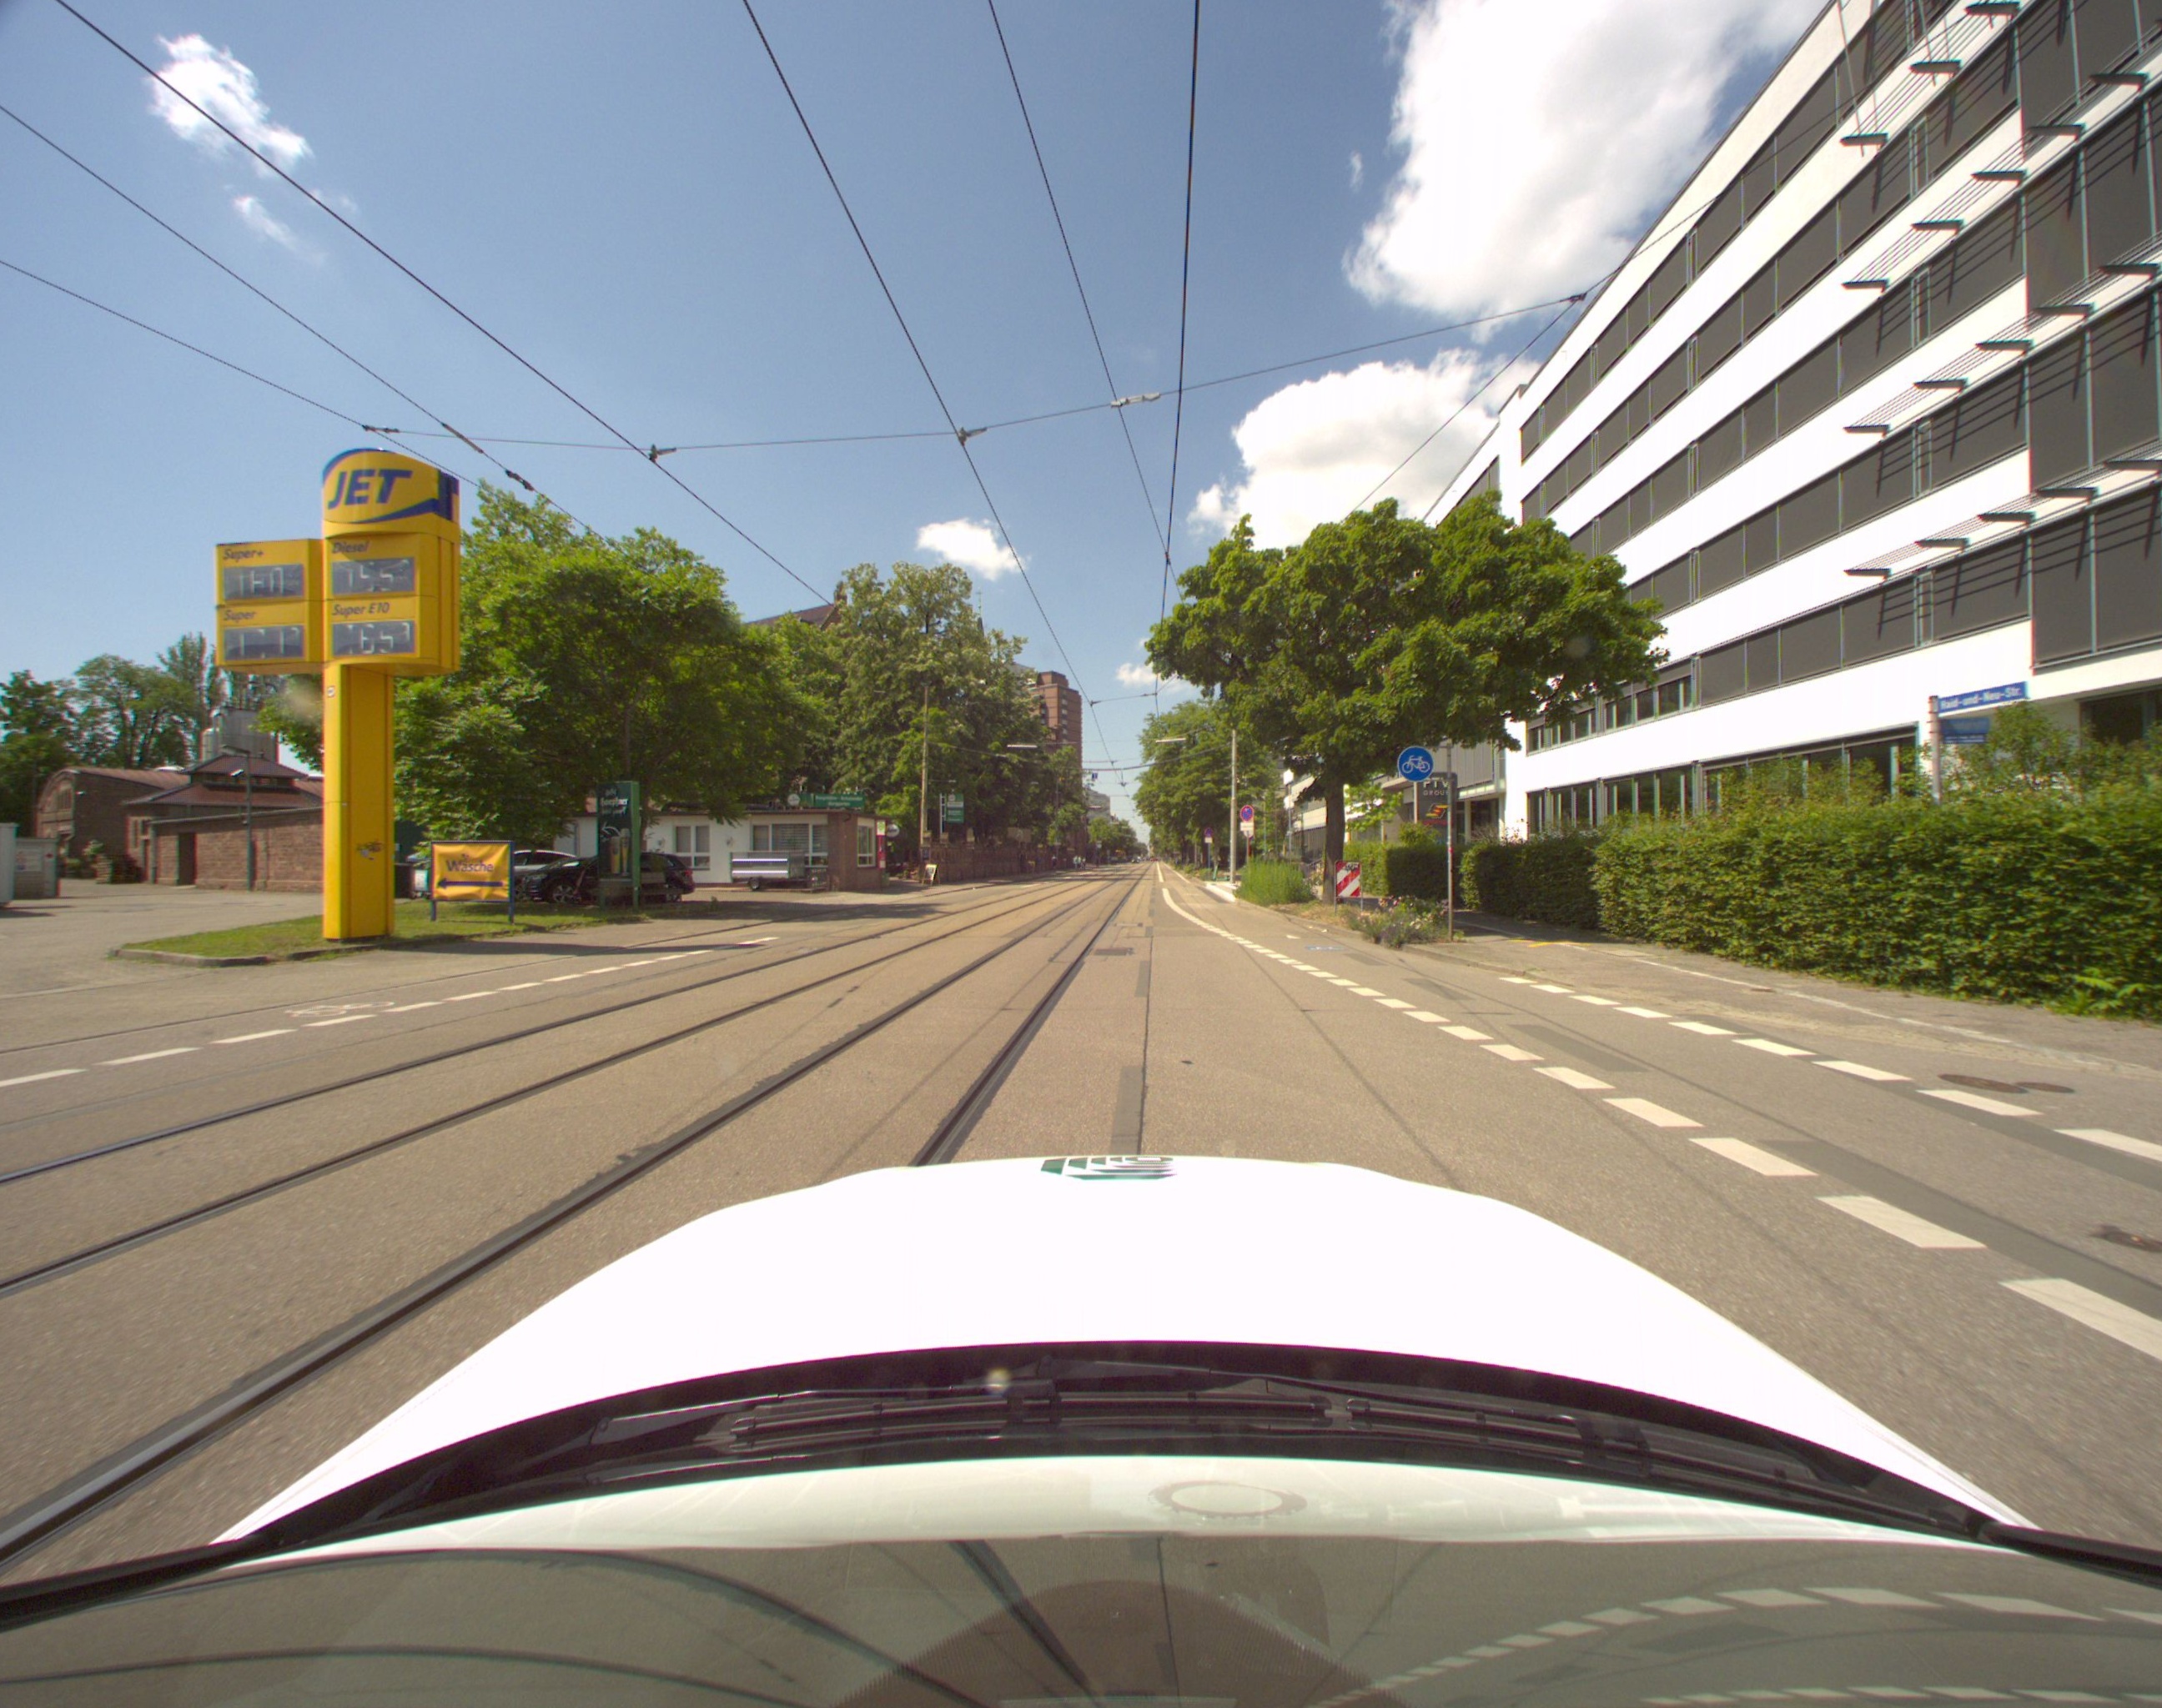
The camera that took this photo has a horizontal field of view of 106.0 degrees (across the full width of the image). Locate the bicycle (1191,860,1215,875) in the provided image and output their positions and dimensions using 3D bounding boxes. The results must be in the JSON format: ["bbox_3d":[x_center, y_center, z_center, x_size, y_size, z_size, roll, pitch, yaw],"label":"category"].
[{"bbox_3d":[10.451,1.154,69.887,1.985,1.209,0.664,-1,-1,9],"label":"bicycle"}]

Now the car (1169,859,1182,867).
[{"bbox_3d":[15.833,1.468,136.572,1.984,1.310,4.006,-1,0,5],"label":"car"}]

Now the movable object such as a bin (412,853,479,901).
[{"bbox_3d":[-18.216,0.662,23.350,1.339,1.354,0.759,0,0,3],"label":"movable object such as a bin"}]

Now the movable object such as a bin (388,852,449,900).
[{"bbox_3d":[-19.511,0.636,23.989,1.334,1.354,0.761,0,0,17],"label":"movable object such as a bin"}]

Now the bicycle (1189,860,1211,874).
[{"bbox_3d":[9.910,1.111,67.930,1.745,1.166,0.531,0,-1,2],"label":"bicycle"}]

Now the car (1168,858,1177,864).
[{"bbox_3d":[21.107,1.624,188.215,1.984,1.310,4.006,-1,0,5],"label":"car"}]

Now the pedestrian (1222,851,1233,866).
[{"bbox_3d":[18.448,0.596,102.445,1.211,1.827,0.832,0,-1,1],"label":"pedestrian"}]

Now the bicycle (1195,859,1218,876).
[{"bbox_3d":[9.931,1.070,64.336,1.745,1.271,0.531,0,-1,2],"label":"bicycle"}]

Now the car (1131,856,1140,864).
[{"bbox_3d":[14.301,1.601,214.366,1.983,2.013,4.008,1,0,8],"label":"car"}]

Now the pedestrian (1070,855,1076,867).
[{"bbox_3d":[-1.105,1.026,117.006,0.739,1.728,0.868,0,-1,5],"label":"pedestrian"}]

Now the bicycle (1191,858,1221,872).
[{"bbox_3d":[10.580,0.942,69.179,2.496,1.209,0.649,-1,-1,9],"label":"bicycle"}]

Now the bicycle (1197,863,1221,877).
[{"bbox_3d":[9.904,1.243,63.246,1.781,1.102,0.532,-1,-1,3],"label":"bicycle"}]

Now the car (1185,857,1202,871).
[{"bbox_3d":[12.045,1.076,87.073,1.626,1.501,4.006,-1,0,5],"label":"car"}]

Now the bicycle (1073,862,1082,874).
[{"bbox_3d":[-0.381,1.510,85.957,0.697,1.204,2.243,-2,-1,5],"label":"bicycle"}]

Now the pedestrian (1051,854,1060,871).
[{"bbox_3d":[-2.621,0.890,83.999,0.811,1.770,0.926,0,-1,5],"label":"pedestrian"}]

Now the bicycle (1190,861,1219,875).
[{"bbox_3d":[10.810,1.242,71.214,2.496,1.209,0.743,-1,-1,9],"label":"bicycle"}]

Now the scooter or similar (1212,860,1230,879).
[{"bbox_3d":[8.790,0.998,51.277,1.053,1.156,0.371,-2,-1,5],"label":"scooter or similar"}]

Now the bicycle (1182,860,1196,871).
[{"bbox_3d":[12.389,1.271,93.477,1.556,1.241,0.437,-1,-1,6],"label":"bicycle"}]

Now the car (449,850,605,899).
[{"bbox_3d":[-19.212,0.664,28.344,4.354,1.592,1.889,0,0,-38],"label":"car"}]

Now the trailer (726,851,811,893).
[{"bbox_3d":[-12.817,0.721,33.536,2.816,1.704,1.624,0,0,6],"label":"trailer"}]

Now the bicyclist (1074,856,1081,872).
[{"bbox_3d":[-0.364,1.081,86.111,0.639,1.679,0.816,-1,-1,5],"label":"bicyclist"}]

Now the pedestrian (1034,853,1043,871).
[{"bbox_3d":[-4.044,0.783,77.186,0.739,1.728,0.868,0,-1,5],"label":"pedestrian"}]

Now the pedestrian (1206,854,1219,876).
[{"bbox_3d":[10.348,0.880,63.995,0.802,1.715,0.577,0,-1,-42],"label":"pedestrian"}]

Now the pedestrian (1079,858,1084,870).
[{"bbox_3d":[0.086,1.375,115.714,0.739,1.728,0.868,0,-1,5],"label":"pedestrian"}]

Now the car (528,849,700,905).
[{"bbox_3d":[-14.454,0.643,25.323,4.356,1.590,1.976,0,0,-41],"label":"car"}]

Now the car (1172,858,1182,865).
[{"bbox_3d":[18.593,1.421,157.834,1.984,1.310,4.006,-1,0,5],"label":"car"}]

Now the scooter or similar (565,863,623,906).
[{"bbox_3d":[-13.969,0.857,23.360,1.368,1.174,0.401,0,-1,-42],"label":"scooter or similar"}]

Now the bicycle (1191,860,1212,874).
[{"bbox_3d":[10.135,1.117,68.416,1.745,1.166,0.531,0,-1,2],"label":"bicycle"}]

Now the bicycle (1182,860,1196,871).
[{"bbox_3d":[12.372,1.277,92.973,1.556,1.241,0.437,-1,-1,6],"label":"bicycle"}]
